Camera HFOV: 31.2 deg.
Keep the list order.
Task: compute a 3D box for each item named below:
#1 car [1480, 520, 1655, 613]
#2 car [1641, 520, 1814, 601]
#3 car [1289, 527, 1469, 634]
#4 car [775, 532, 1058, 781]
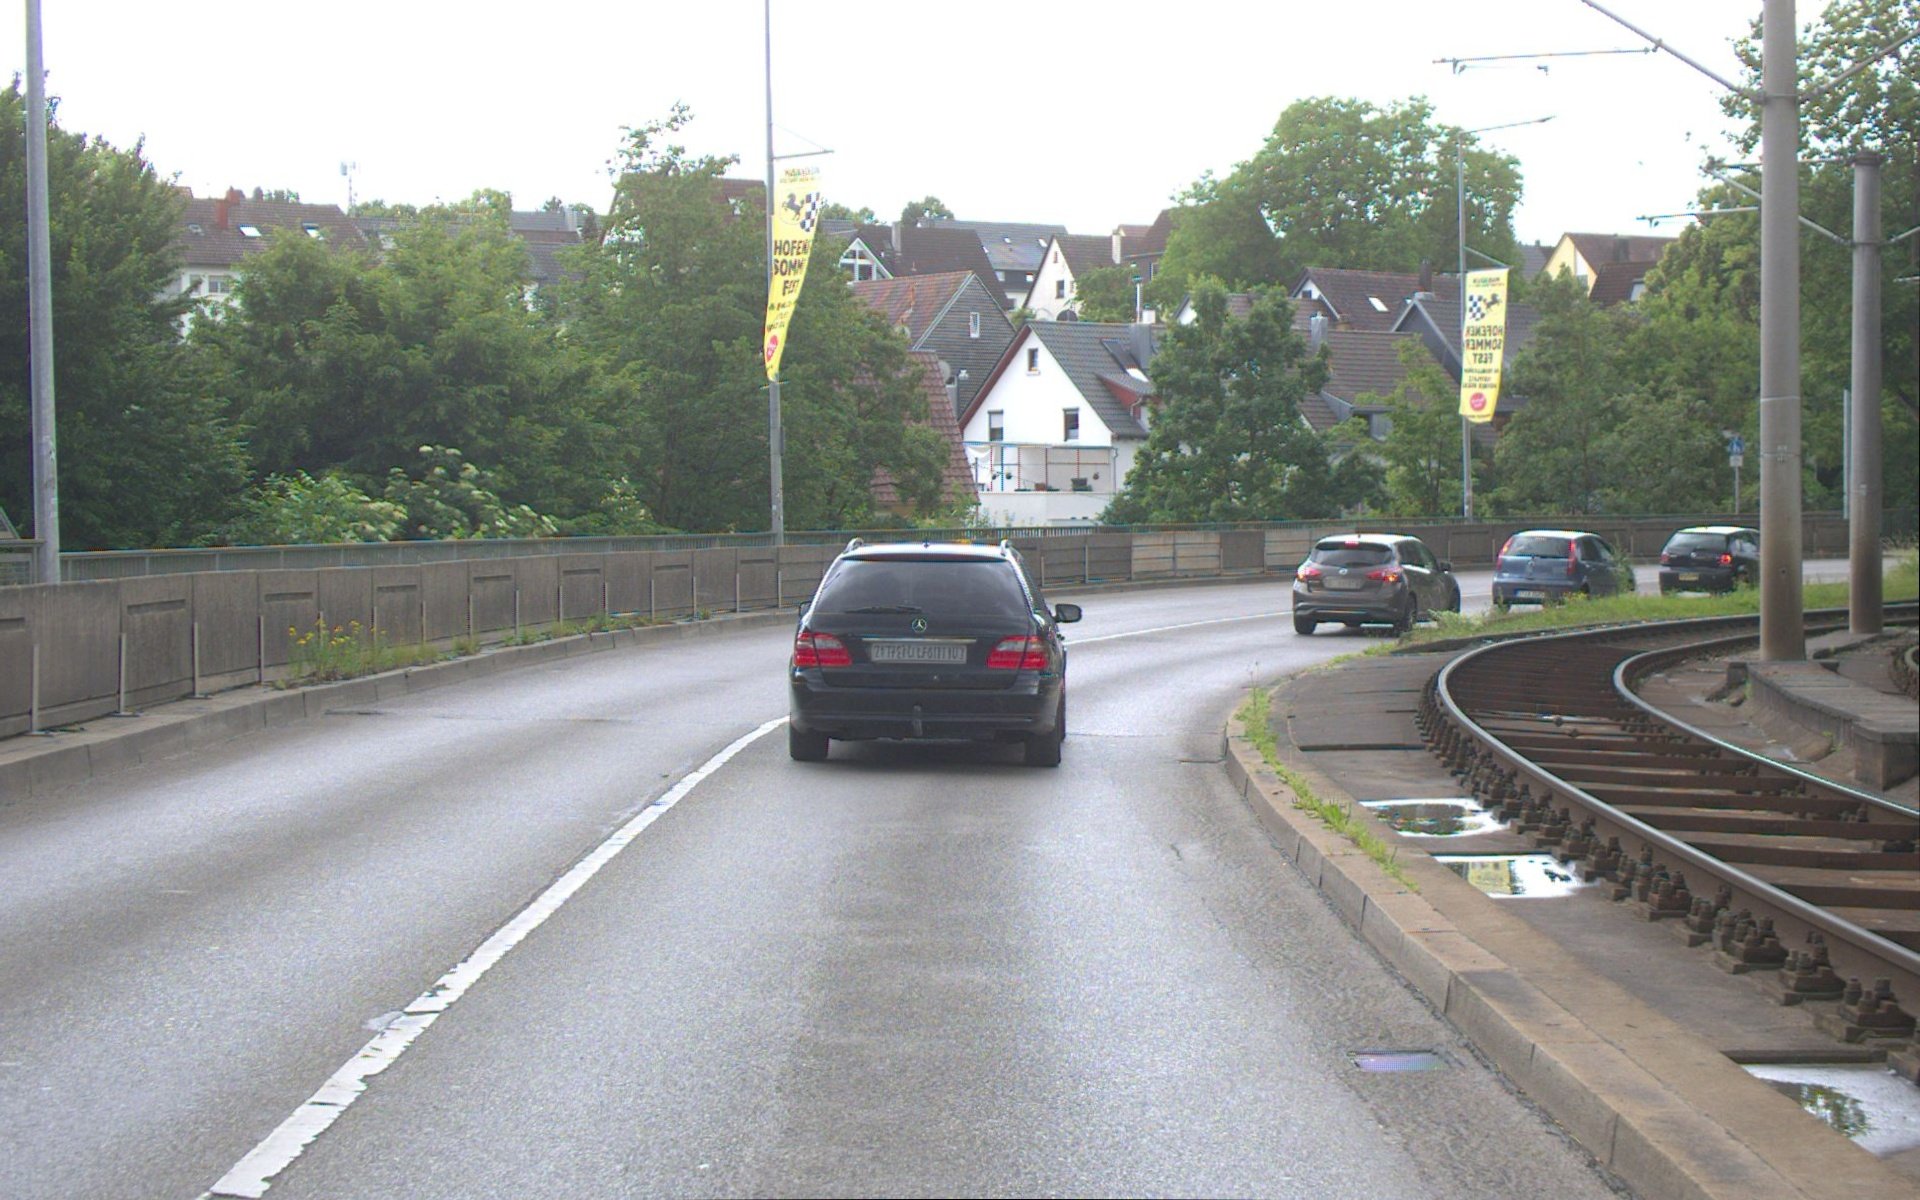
[{"bbox_3d":[10.898,-0.614,61.479,1.795,1.550,4.379,0,1,28],"label":"car"},{"bbox_3d":[15.219,-0.791,68.025,1.774,1.550,4.232,1,1,37],"label":"car"},{"bbox_3d":[6.498,-0.326,52.924,1.772,1.550,4.236,0,1,21],"label":"car"},{"bbox_3d":[-0.237,0.312,23.884,1.759,1.510,4.442,1,1,1],"label":"car"}]
